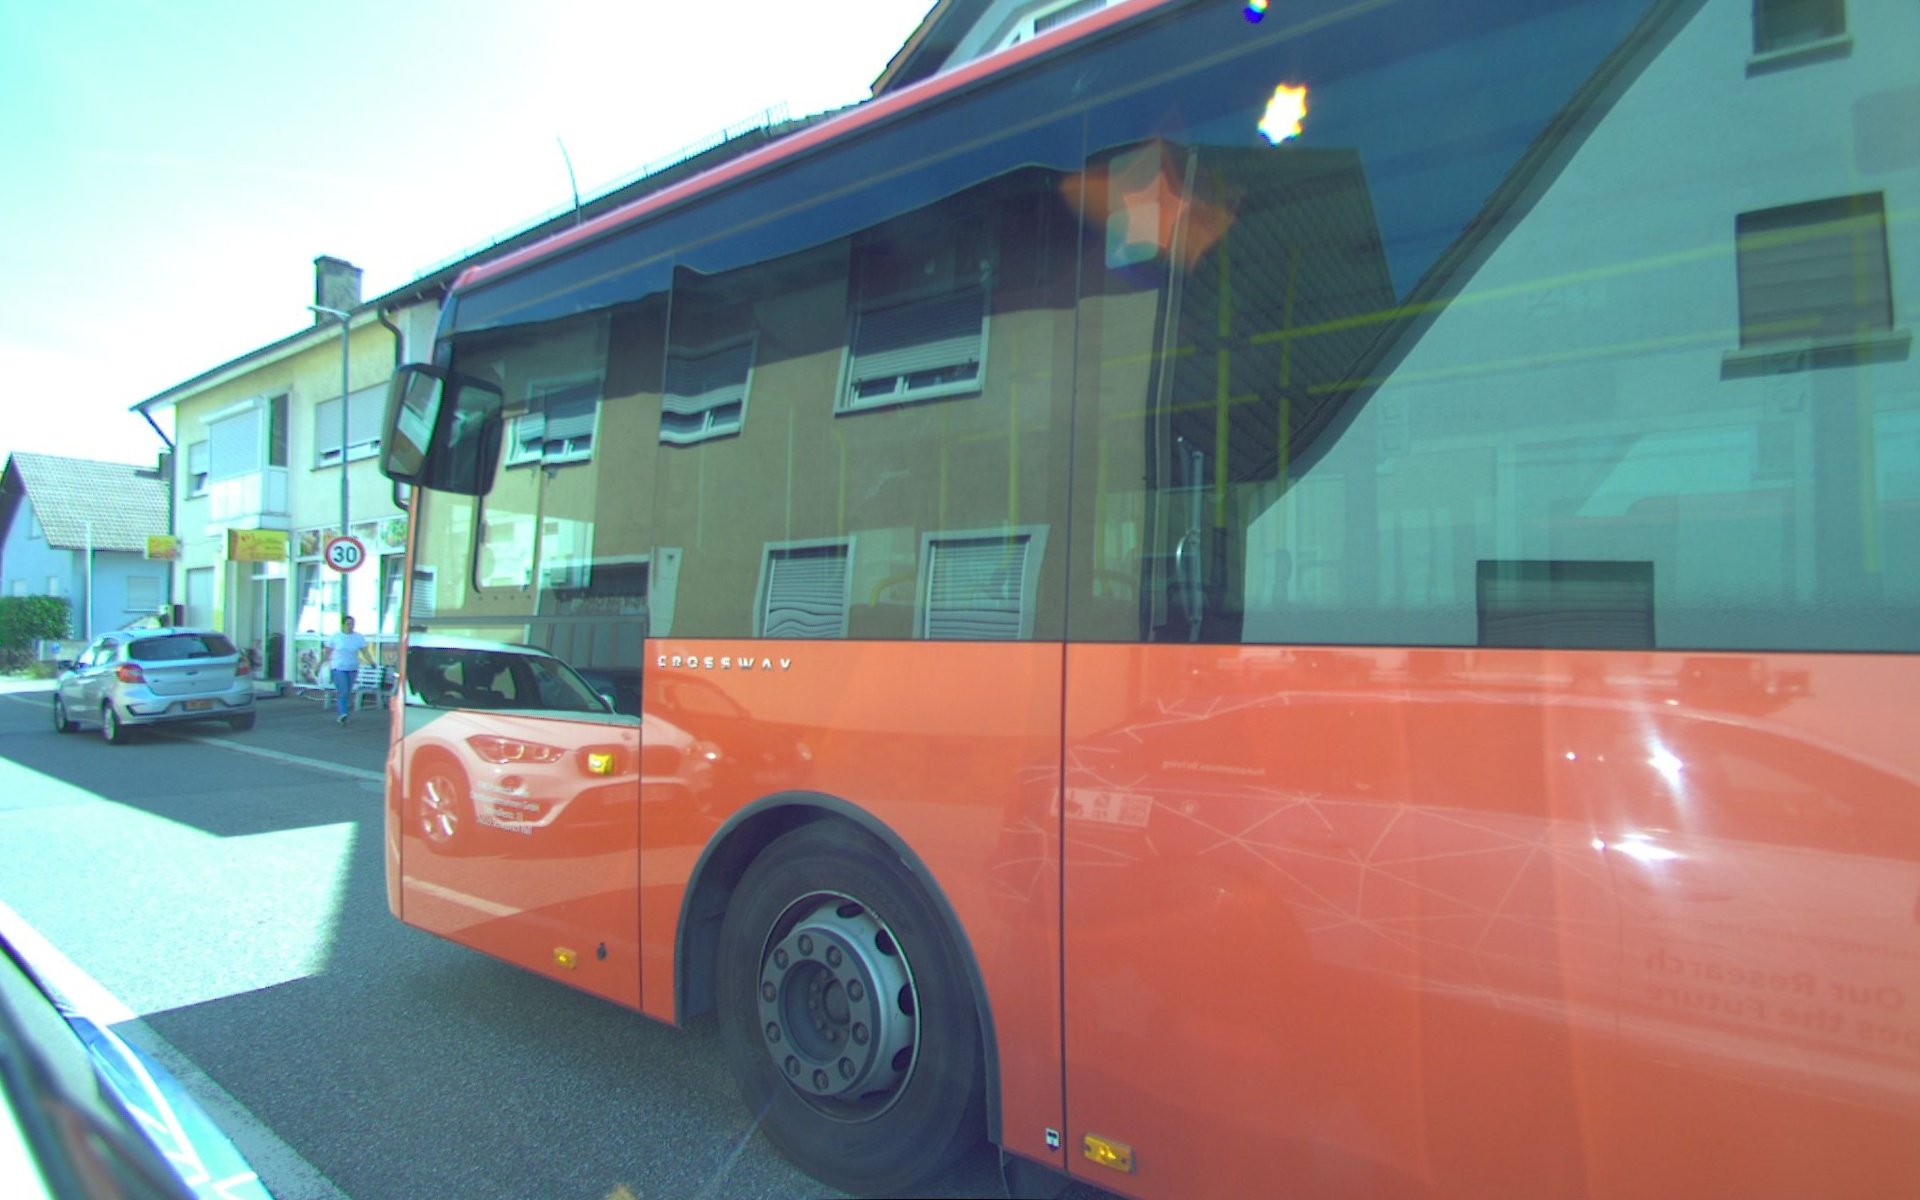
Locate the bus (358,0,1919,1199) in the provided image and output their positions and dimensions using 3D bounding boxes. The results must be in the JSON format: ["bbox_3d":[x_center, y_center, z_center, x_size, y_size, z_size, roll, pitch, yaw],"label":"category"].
[{"bbox_3d":[3.234,-0.133,1.486,12.001,3.257,2.602,-1,-4,37],"label":"bus"}]

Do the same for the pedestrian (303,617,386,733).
[{"bbox_3d":[-8.988,1.062,14.778,0.955,1.595,0.748,-1,0,39],"label":"pedestrian"}]

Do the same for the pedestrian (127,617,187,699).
[{"bbox_3d":[-16.217,1.147,20.439,0.955,1.595,0.748,-1,0,39],"label":"pedestrian"}]

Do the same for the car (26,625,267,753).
[{"bbox_3d":[-11.965,1.186,14.817,3.992,1.527,1.729,-1,2,36],"label":"car"}]
